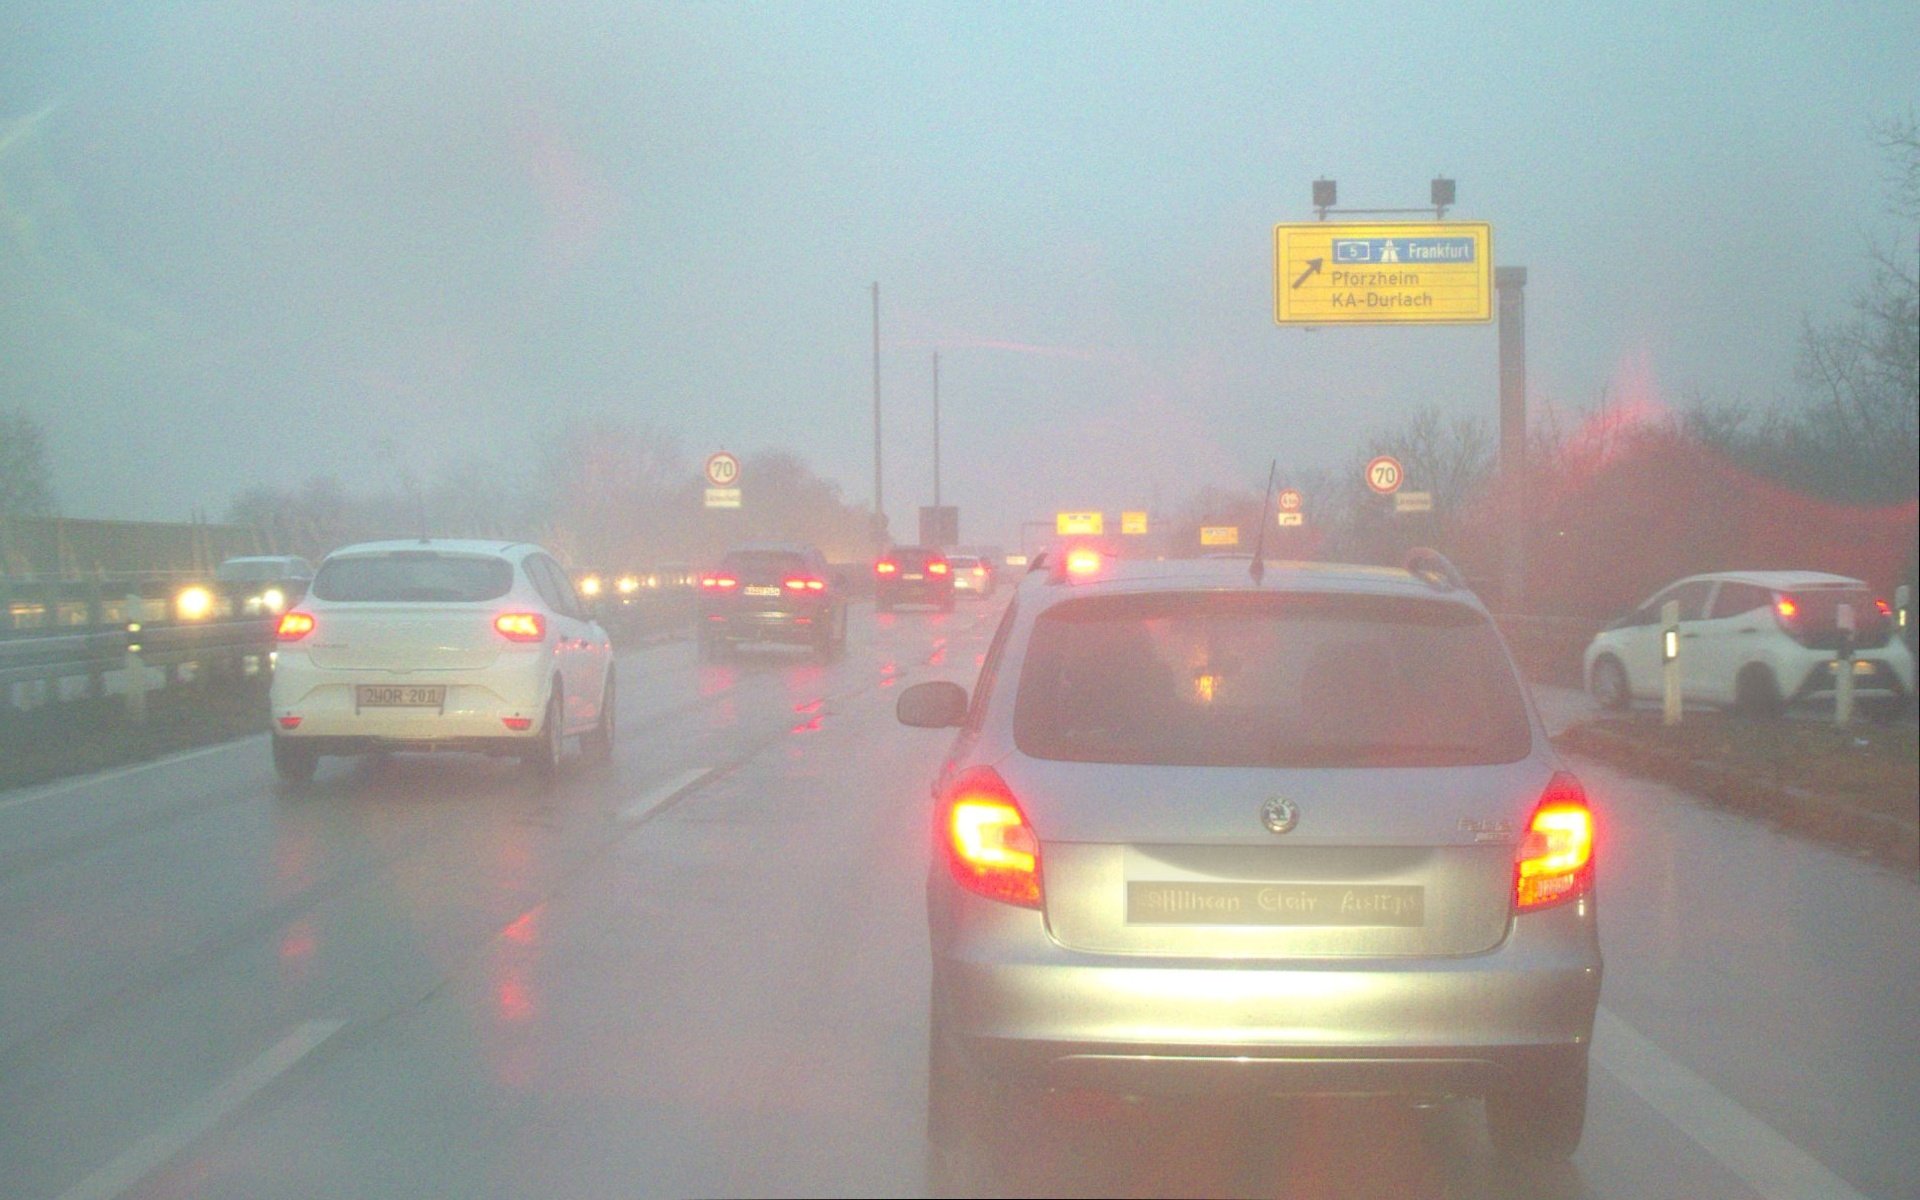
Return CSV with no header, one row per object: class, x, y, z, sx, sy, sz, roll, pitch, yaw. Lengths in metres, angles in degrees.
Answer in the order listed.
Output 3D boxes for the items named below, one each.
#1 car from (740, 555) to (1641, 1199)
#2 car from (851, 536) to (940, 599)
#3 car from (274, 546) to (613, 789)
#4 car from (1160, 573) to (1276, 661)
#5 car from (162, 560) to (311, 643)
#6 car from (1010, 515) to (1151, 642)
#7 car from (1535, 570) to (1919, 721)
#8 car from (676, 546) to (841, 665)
car,0.553,0.631,9.718,1.993,1.495,4.137,0,1,1
car,-1.584,-0.835,85.973,1.790,1.540,3.999,0,1,5
car,-3.296,0.371,22.644,1.724,1.435,4.226,0,1,-2
car,4.751,0.288,63.695,1.789,1.540,4.000,-1,1,-1
car,-14.487,0.006,69.090,1.840,1.557,4.682,1,1,2
car,1.712,-0.337,49.997,1.897,1.761,4.309,0,1,0
car,7.603,0.401,33.806,1.993,1.341,4.001,0,1,-23
car,-2.851,0.037,49.590,1.993,1.596,4.308,1,1,1
